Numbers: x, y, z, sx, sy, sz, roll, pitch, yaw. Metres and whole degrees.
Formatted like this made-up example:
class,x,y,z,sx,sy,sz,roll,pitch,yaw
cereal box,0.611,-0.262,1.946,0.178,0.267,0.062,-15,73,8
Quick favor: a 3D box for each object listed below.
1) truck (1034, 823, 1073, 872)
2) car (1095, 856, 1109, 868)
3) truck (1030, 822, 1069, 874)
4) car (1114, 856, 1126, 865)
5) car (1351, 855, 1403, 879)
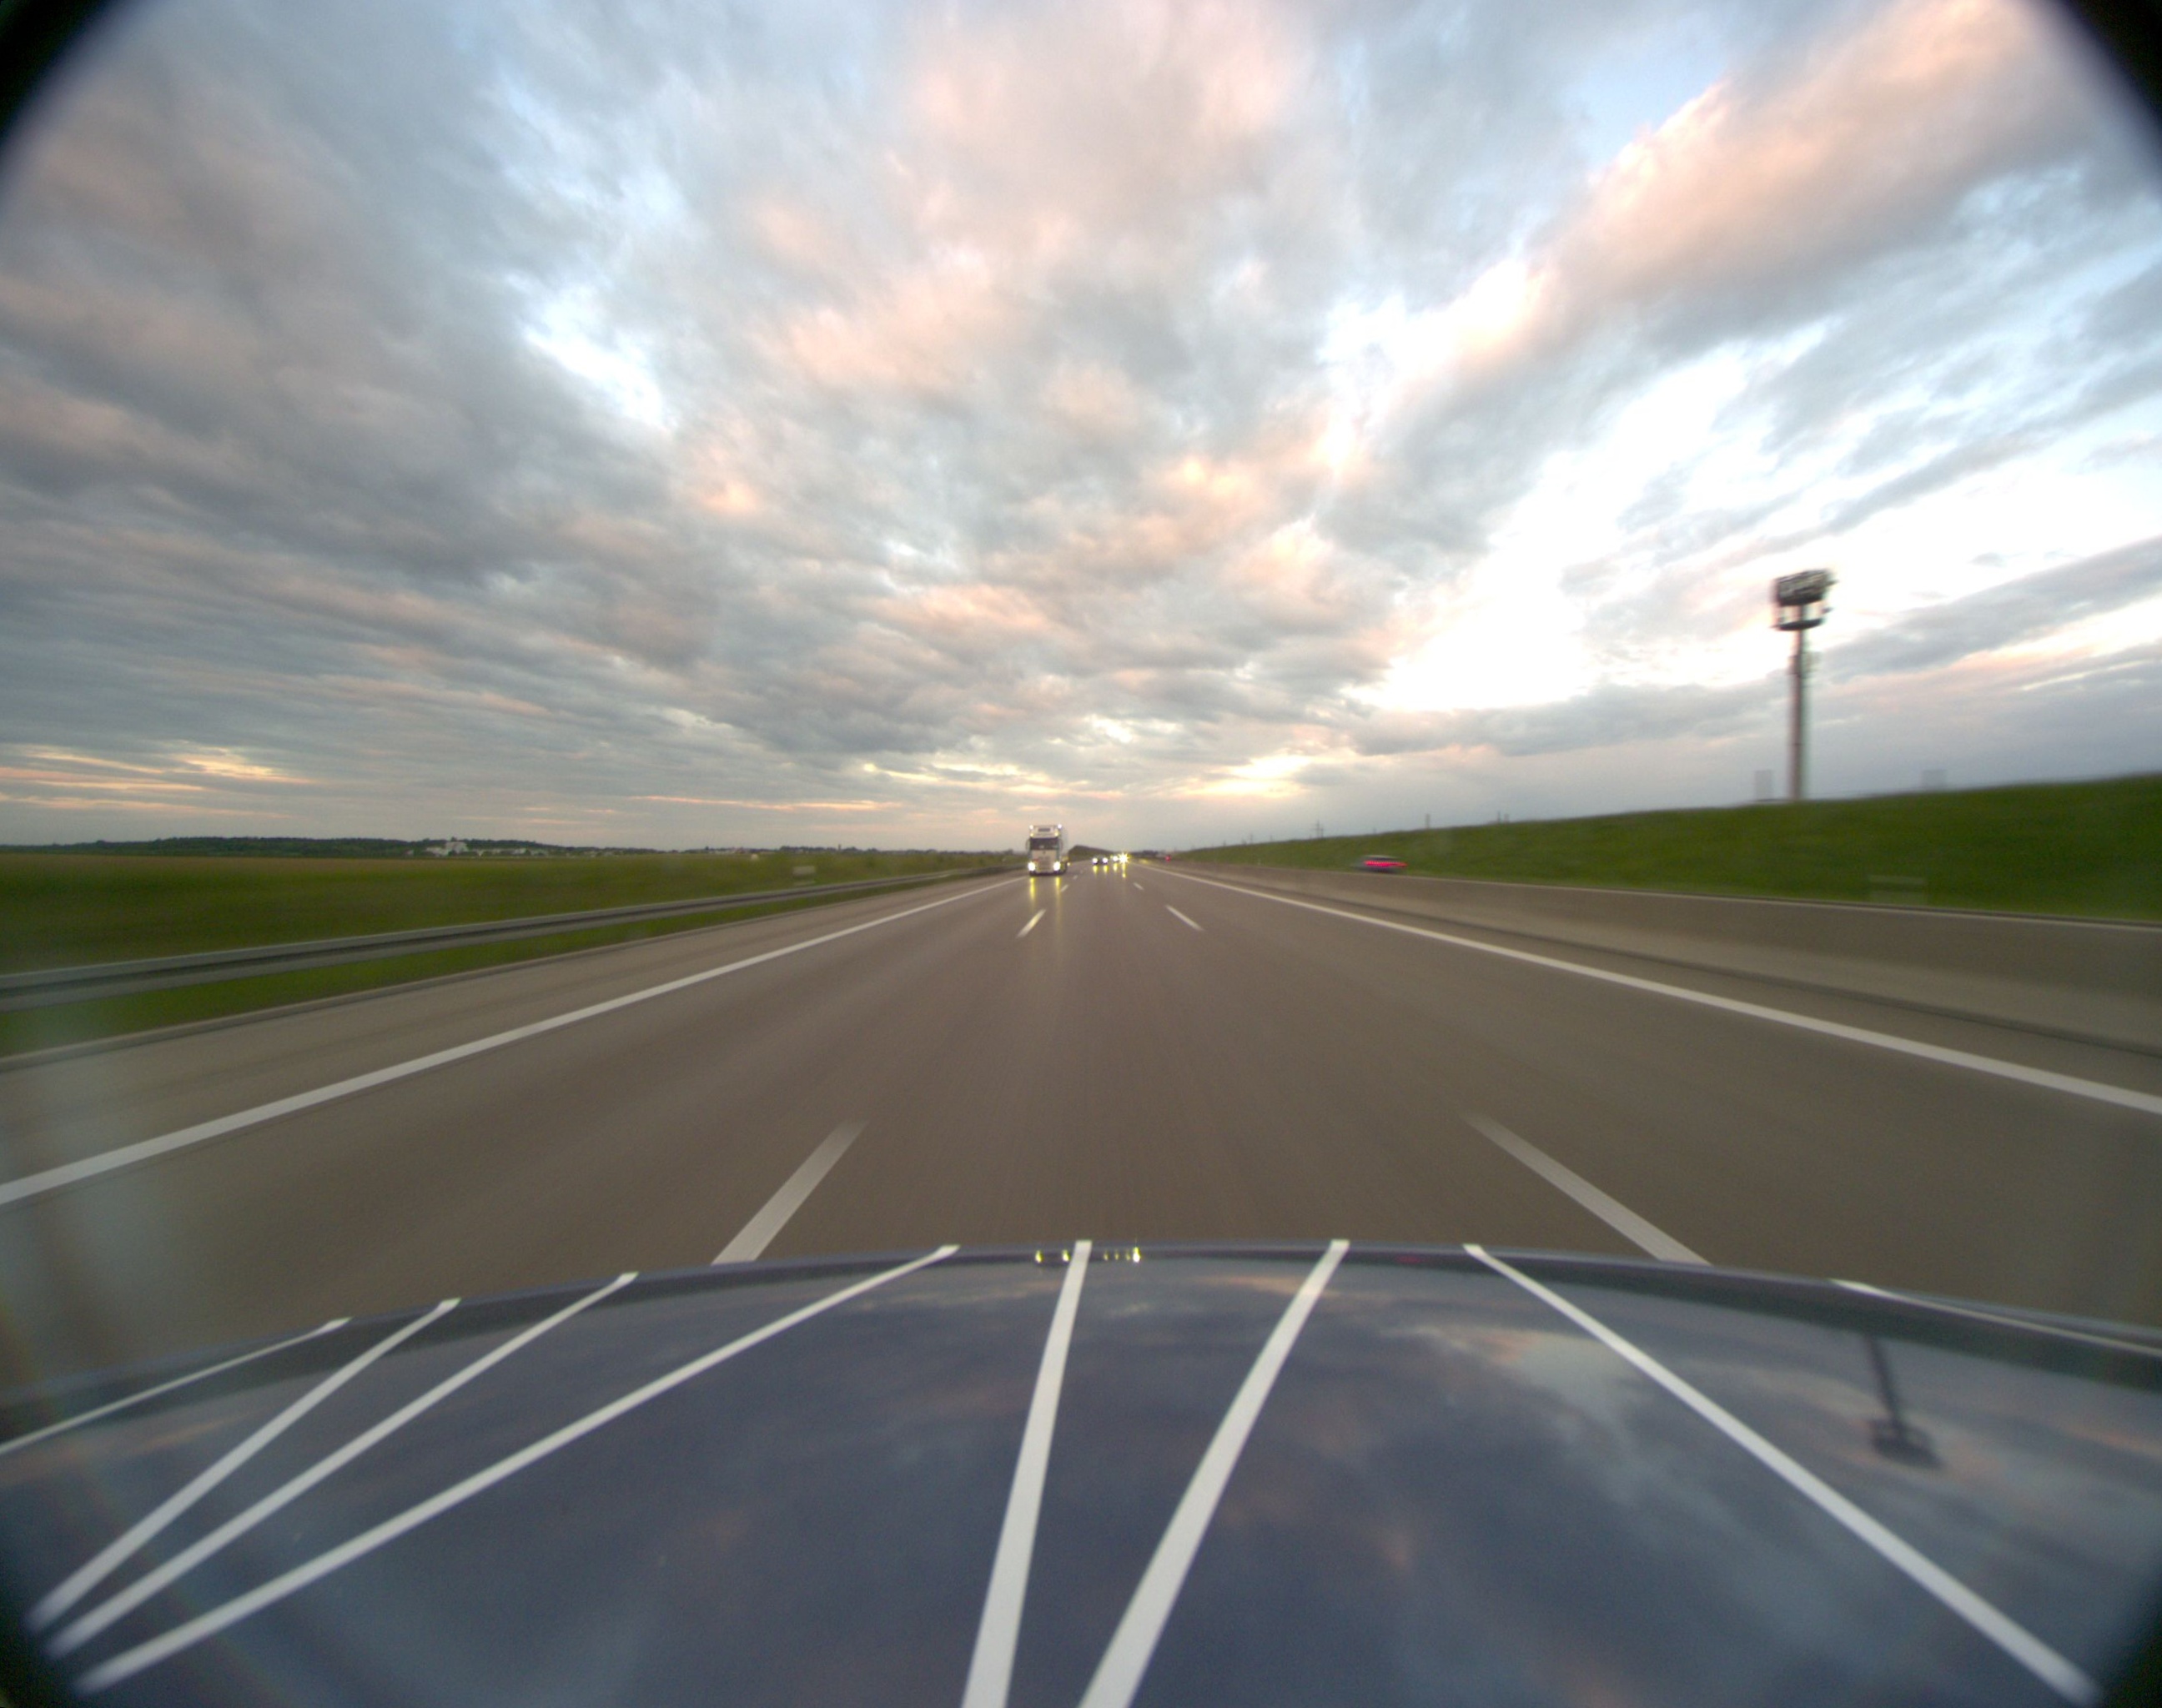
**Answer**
class,x,y,z,sx,sy,sz,roll,pitch,yaw
truck,-2.314,-0.516,68.501,2.596,3.999,12.986,-1,0,2
car,3.251,1.181,114.454,1.998,1.652,4.851,-2,0,2
truck,-2.514,-0.486,61.843,2.596,3.999,5.860,-1,0,2
car,7.505,1.207,146.160,1.998,1.652,4.000,-2,1,1
car,20.443,0.854,52.640,1.866,1.544,4.581,0,0,1
